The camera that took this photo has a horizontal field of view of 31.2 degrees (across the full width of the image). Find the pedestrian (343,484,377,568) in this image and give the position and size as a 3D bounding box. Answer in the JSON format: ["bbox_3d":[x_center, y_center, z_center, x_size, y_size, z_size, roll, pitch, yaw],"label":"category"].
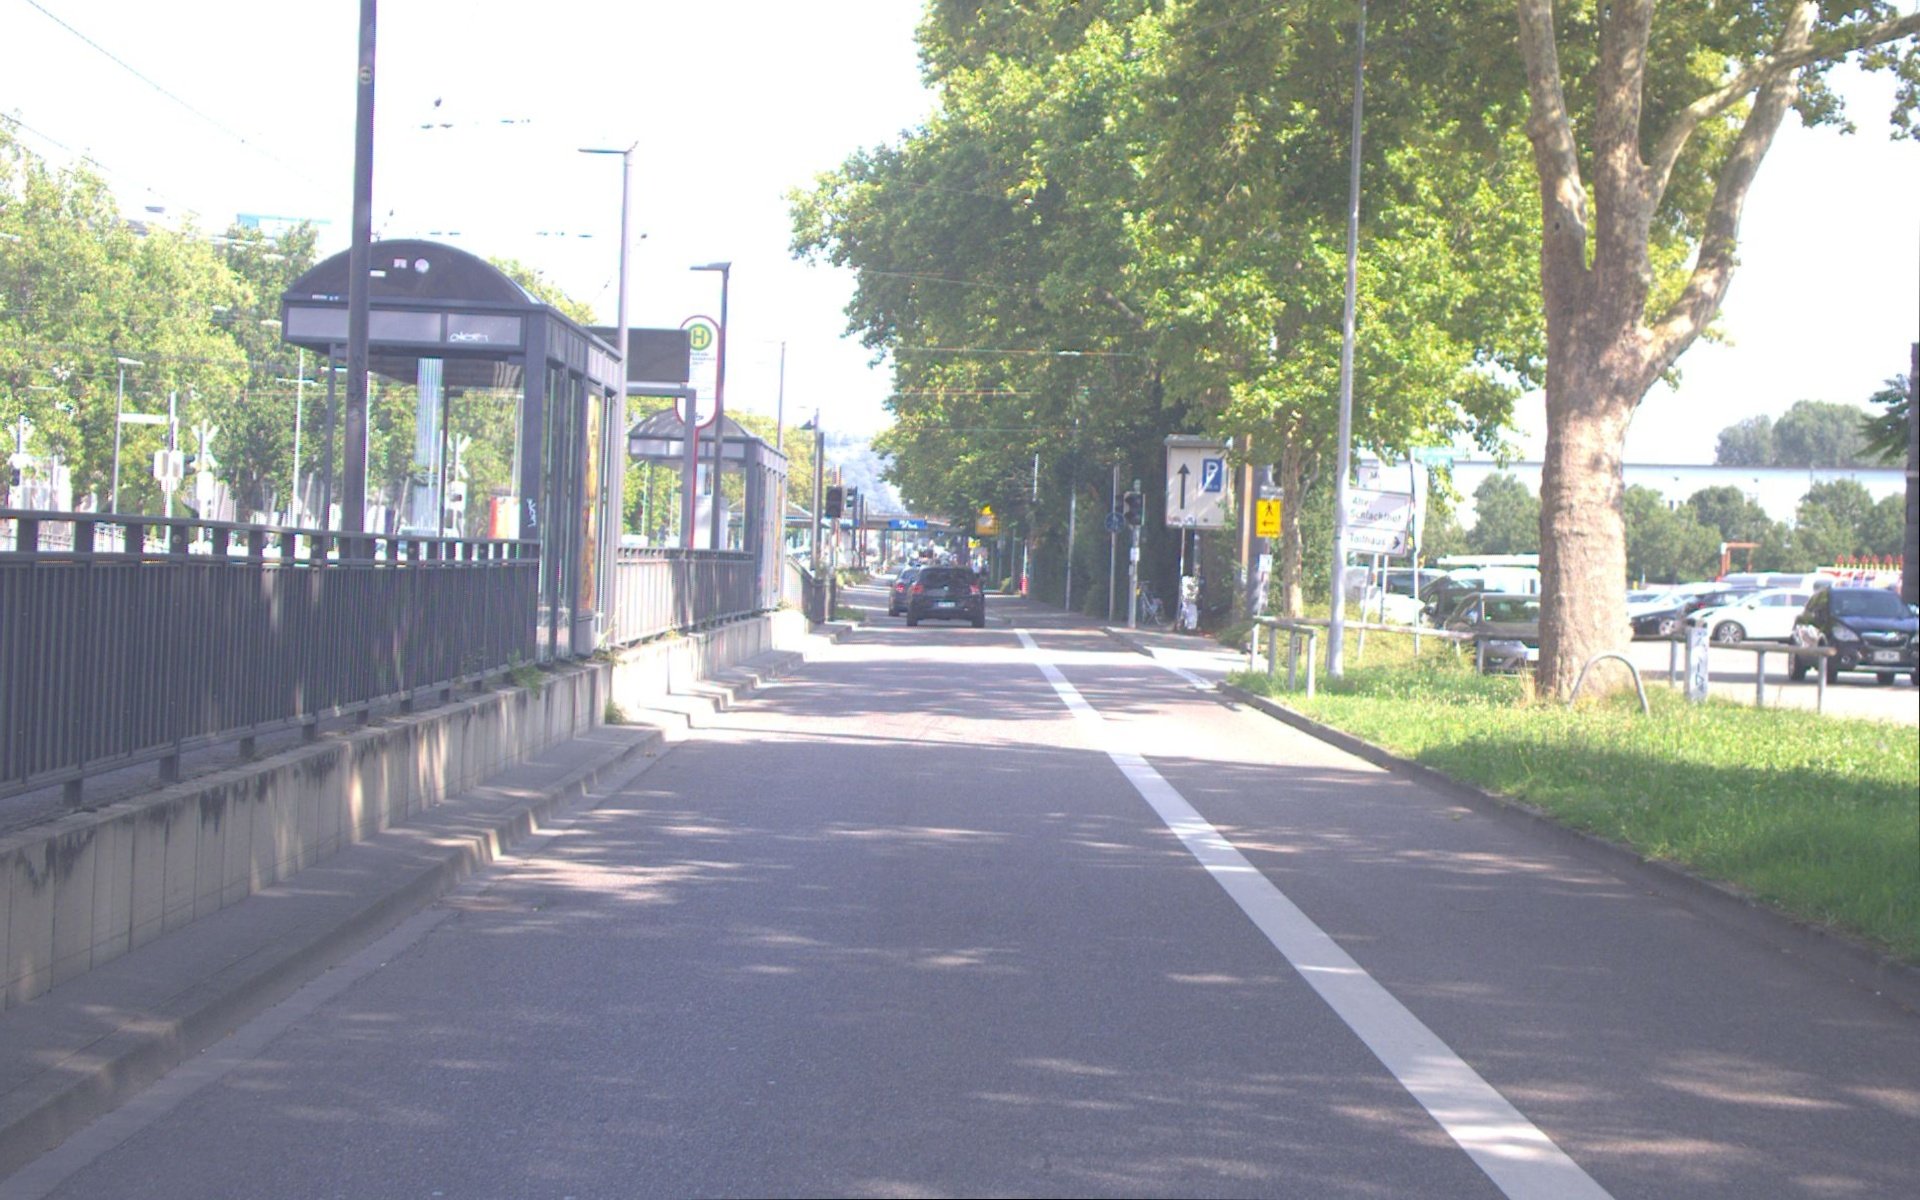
[{"bbox_3d":[-13.183,-1.615,75.492,0.707,1.815,0.773,1,0,-10],"label":"pedestrian"}]

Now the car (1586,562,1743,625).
[{"bbox_3d":[21.782,-0.208,106.364,4.343,1.707,1.948,3,1,-2],"label":"car"}]

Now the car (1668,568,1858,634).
[{"bbox_3d":[20.715,0.020,88.821,4.343,1.459,1.948,3,1,-2],"label":"car"}]

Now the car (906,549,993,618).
[{"bbox_3d":[-0.266,-0.400,79.170,1.907,1.532,4.000,1,1,-1],"label":"car"}]

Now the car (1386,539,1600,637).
[{"bbox_3d":[10.858,-0.255,70.255,4.103,1.912,1.847,1,1,3],"label":"car"}]

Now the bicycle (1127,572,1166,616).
[{"bbox_3d":[4.632,-0.162,85.688,0.610,1.018,2.403,3,1,-5],"label":"bicycle"}]

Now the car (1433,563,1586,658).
[{"bbox_3d":[9.039,0.140,56.870,1.728,1.443,4.551,1,1,0],"label":"car"}]

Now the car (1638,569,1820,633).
[{"bbox_3d":[20.580,0.027,92.098,4.343,1.459,1.948,3,1,-2],"label":"car"}]

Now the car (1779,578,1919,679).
[{"bbox_3d":[15.125,0.455,58.088,1.607,1.570,3.797,1,1,0],"label":"car"}]

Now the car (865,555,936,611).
[{"bbox_3d":[-1.730,-0.496,98.797,1.973,1.532,4.000,-1,1,-1],"label":"car"}]
